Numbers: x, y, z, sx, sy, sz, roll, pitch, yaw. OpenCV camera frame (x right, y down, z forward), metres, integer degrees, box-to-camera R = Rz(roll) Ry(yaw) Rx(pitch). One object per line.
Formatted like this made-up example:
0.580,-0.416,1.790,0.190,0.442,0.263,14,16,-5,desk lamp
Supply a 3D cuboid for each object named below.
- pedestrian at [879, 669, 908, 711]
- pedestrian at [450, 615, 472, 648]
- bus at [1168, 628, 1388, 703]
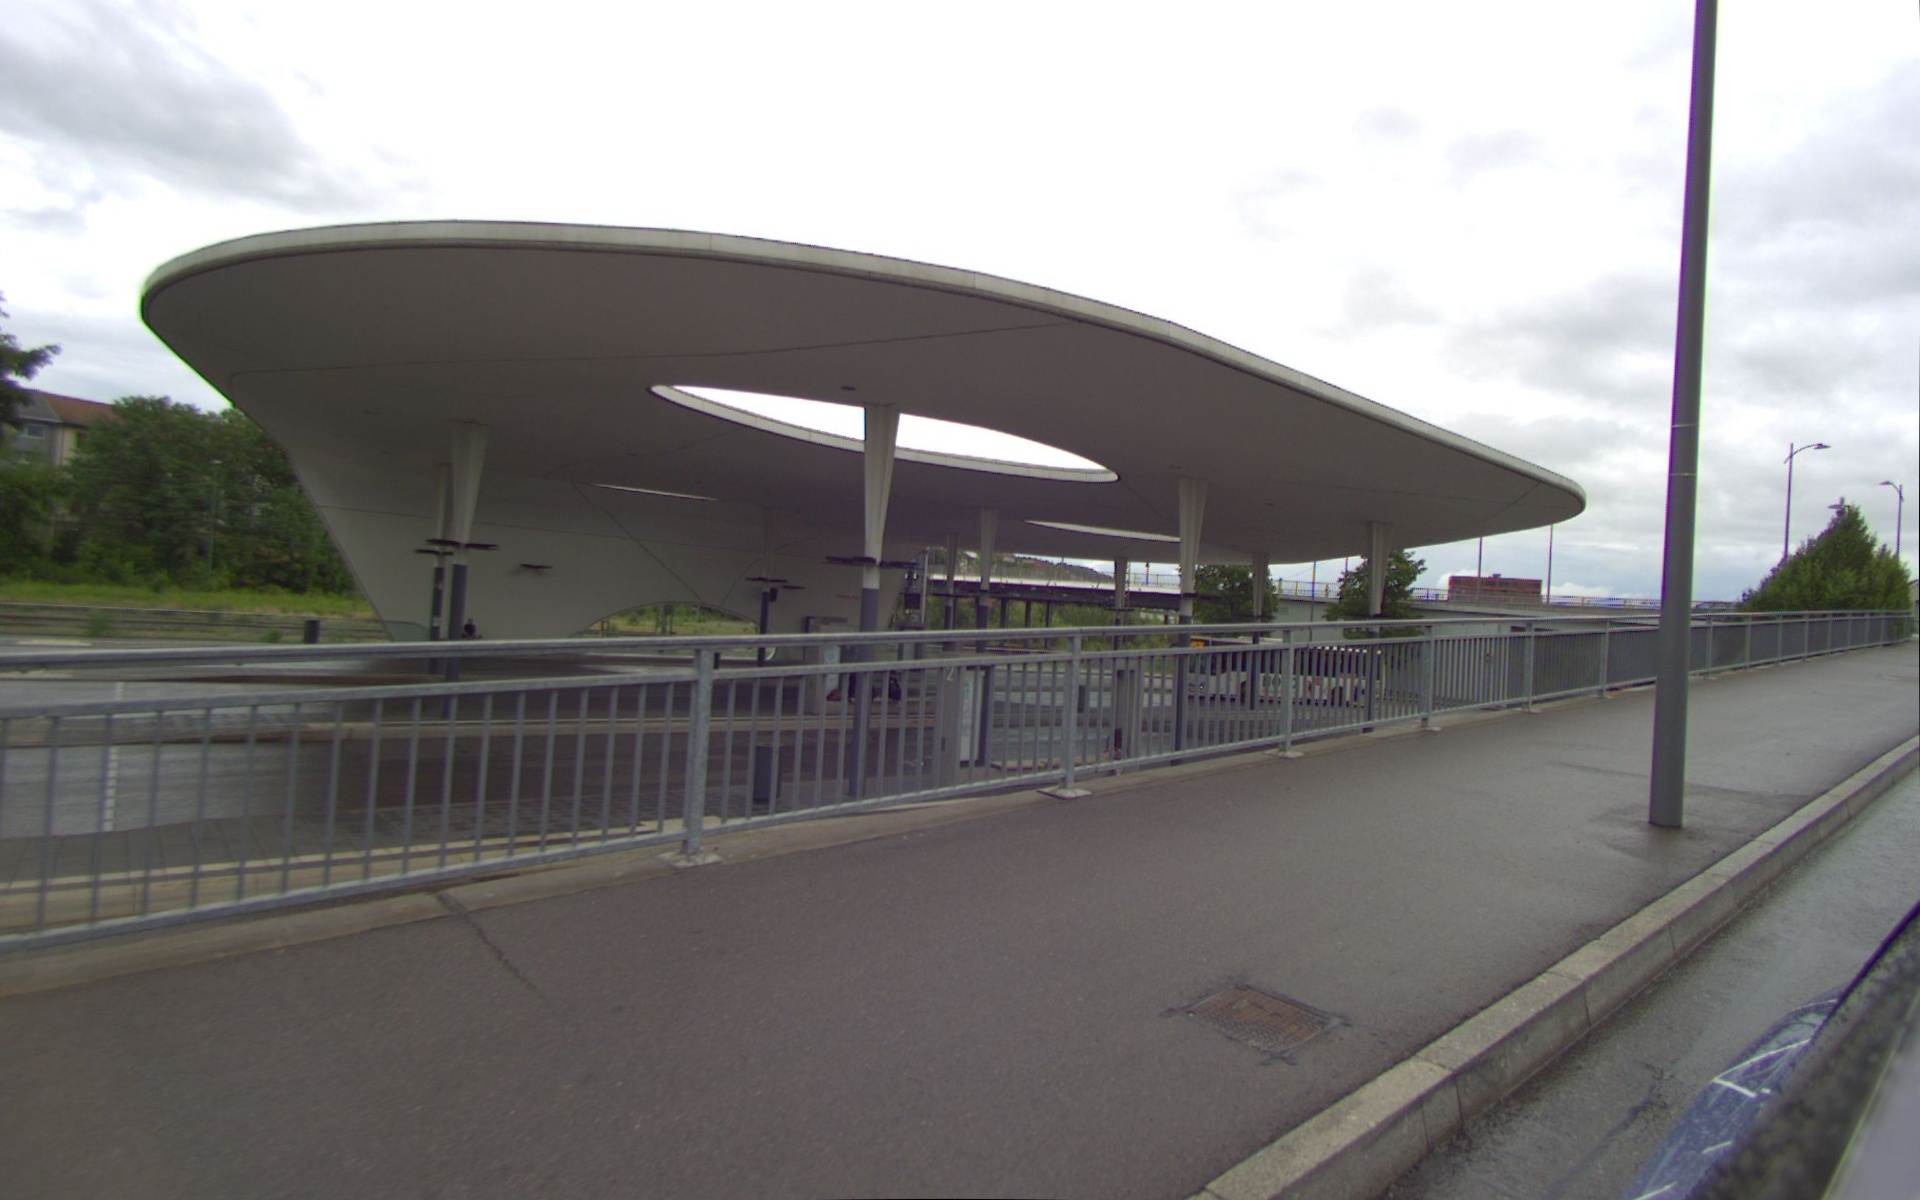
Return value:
-1.990,2.666,30.225,0.658,1.178,0.535,0,-1,-44,pedestrian
-20.454,1.278,41.468,0.698,1.341,0.801,0,-1,-35,pedestrian
16.544,3.244,52.347,11.888,3.299,2.802,-1,0,-23,bus
